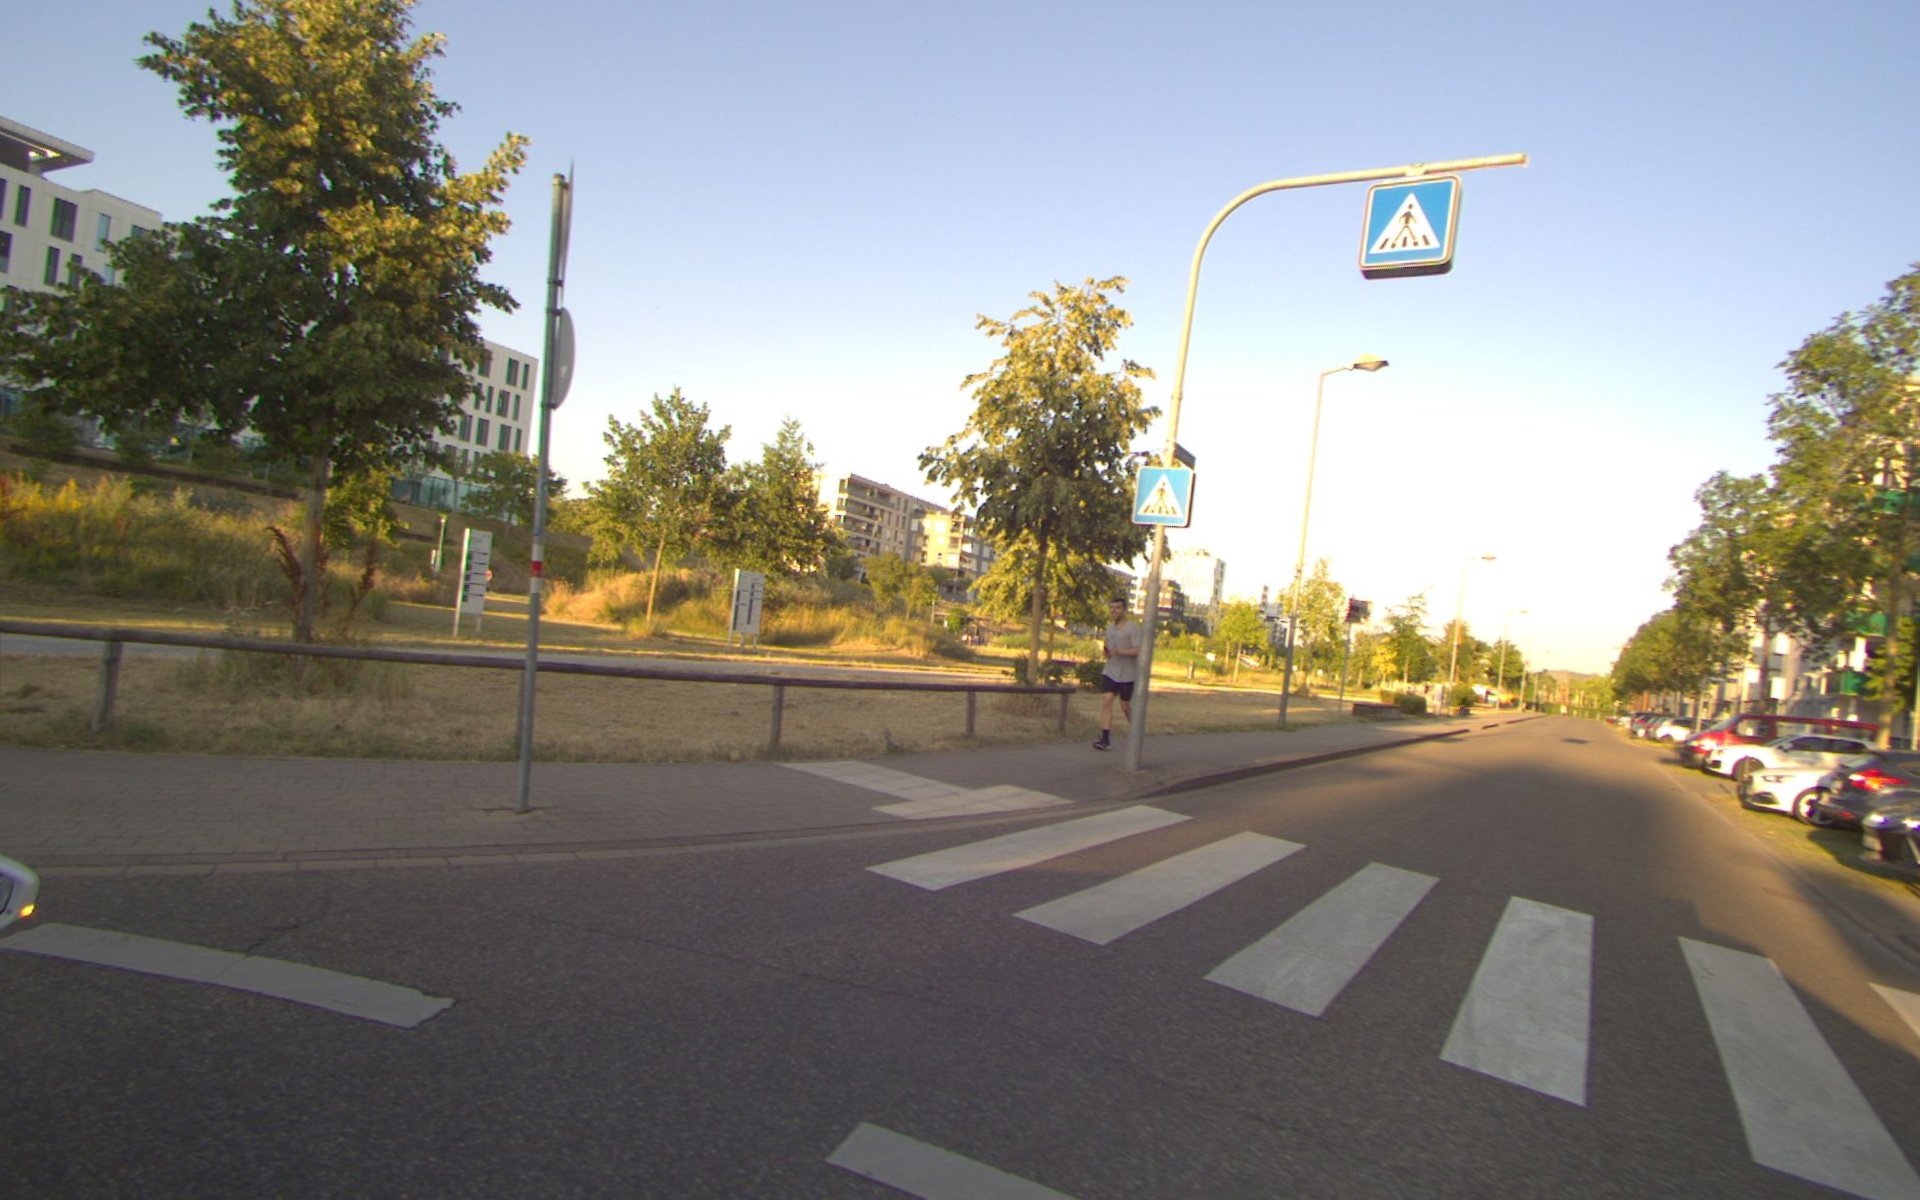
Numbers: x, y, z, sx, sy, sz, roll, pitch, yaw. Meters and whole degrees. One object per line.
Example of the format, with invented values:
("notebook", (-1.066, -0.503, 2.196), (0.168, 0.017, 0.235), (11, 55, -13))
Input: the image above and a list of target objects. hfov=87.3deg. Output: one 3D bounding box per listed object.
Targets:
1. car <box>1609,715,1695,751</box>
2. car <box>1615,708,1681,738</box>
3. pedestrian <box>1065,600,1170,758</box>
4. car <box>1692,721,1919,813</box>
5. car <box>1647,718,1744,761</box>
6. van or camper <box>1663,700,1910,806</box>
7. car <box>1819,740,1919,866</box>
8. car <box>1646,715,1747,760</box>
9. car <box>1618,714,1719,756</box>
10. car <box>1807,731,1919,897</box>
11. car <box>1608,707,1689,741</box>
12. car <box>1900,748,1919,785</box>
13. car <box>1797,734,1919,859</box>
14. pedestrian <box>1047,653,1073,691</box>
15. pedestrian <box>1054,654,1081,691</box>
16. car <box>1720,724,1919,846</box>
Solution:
("car", (45.268, 8.676, 65.919), (4.337, 1.611, 1.950), (7, -1, 29))
("car", (59.437, 10.585, 86.971), (4.336, 1.860, 1.950), (7, -1, 28))
("pedestrian", (1.895, 0.946, 12.066), (0.755, 1.750, 0.799), (7, 0, 36))
("car", (22.097, 4.292, 26.363), (4.392, 1.539, 1.699), (7, -1, 31))
("car", (39.703, 7.513, 54.425), (3.888, 1.611, 1.777), (7, -1, 29))
("van or camper", (23.516, 4.305, 28.946), (5.045, 2.084, 1.875), (7, -1, 30))
("car", (13.153, 2.650, 12.144), (3.940, 1.390, 1.557), (4, -3, 31))
("car", (38.303, 7.138, 52.464), (3.888, 1.611, 1.777), (7, -1, 29))
("car", (40.302, 7.673, 57.363), (4.337, 1.611, 1.950), (7, -1, 29))
("car", (11.260, 2.300, 9.692), (4.407, 1.504, 1.831), (4, -3, 31))
("car", (47.962, 8.642, 70.217), (4.337, 1.611, 1.950), (7, -1, 29))
("car", (42.424, 7.332, 42.672), (1.584, 1.485, 3.528), (7, -1, -1))
("car", (14.396, 2.949, 13.893), (3.988, 1.497, 1.699), (7, -1, 31))
("pedestrian", (2.880, 2.070, 28.935), (0.491, 1.016, 0.481), (7, 0, 27))
("pedestrian", (3.158, 2.124, 29.553), (0.491, 1.016, 0.571), (7, 0, 27))
("car", (15.212, 3.132, 16.560), (3.988, 1.497, 1.699), (7, -1, 31))
